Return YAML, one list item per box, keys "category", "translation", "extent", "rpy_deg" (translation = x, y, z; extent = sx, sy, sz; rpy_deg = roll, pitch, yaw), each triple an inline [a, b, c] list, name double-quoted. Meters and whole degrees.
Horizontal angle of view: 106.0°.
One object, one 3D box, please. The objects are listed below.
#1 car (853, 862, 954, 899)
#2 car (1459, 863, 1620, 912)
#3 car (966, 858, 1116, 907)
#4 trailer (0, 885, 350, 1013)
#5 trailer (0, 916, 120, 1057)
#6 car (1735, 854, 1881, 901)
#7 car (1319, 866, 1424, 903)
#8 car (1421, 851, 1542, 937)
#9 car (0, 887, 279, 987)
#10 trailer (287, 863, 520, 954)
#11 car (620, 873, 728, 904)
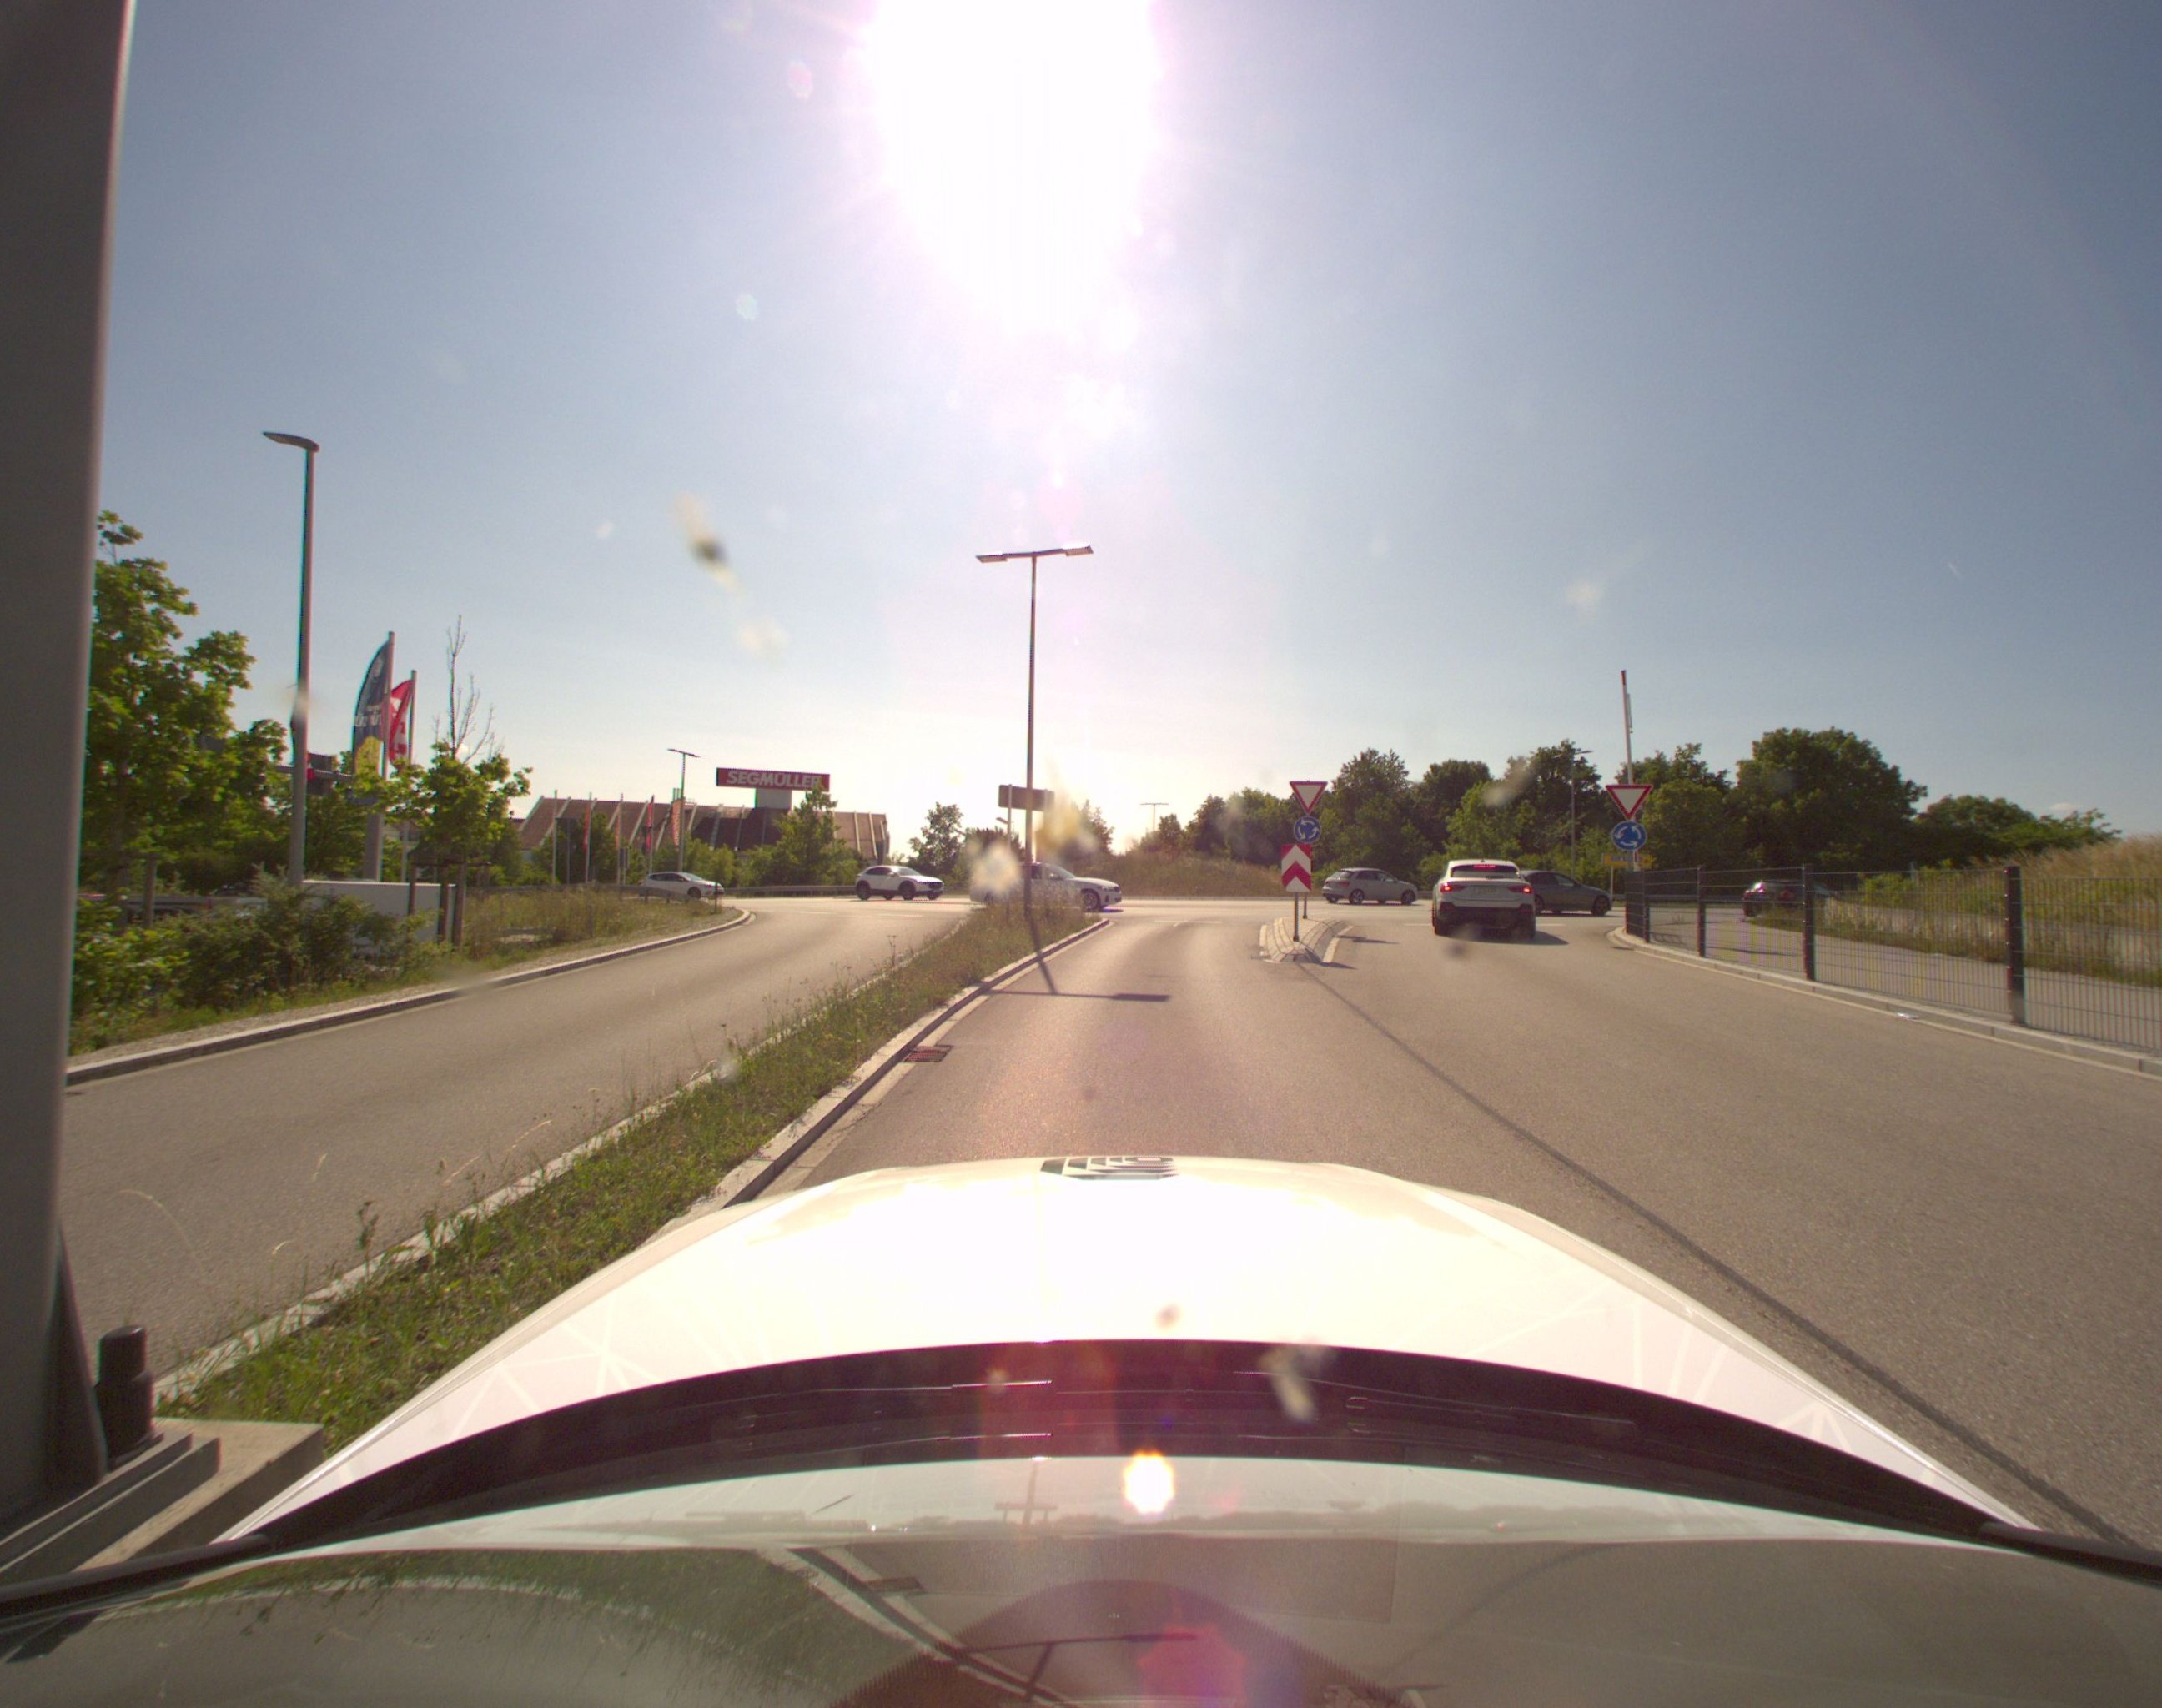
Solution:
- category: "car"
  translation: [-7.938, 1.158, 36.323]
  extent: [4.233, 1.530, 1.802]
  rpy_deg: [0, -2, 29]
- category: "car"
  translation: [14.853, 1.079, 26.373]
  extent: [4.877, 1.452, 1.985]
  rpy_deg: [2, -1, -23]
- category: "car"
  translation: [-1.204, 0.863, 25.124]
  extent: [4.296, 1.352, 1.579]
  rpy_deg: [1, -1, 14]
- category: "trailer"
  translation: [-14.637, 1.441, 13.282]
  extent: [3.709, 1.772, 1.789]
  rpy_deg: [2, -1, -32]
- category: "trailer"
  translation: [-13.939, 1.441, 9.080]
  extent: [3.708, 1.452, 1.691]
  rpy_deg: [5, -3, -32]
- category: "car"
  translation: [27.221, 0.866, 30.581]
  extent: [3.936, 1.618, 1.818]
  rpy_deg: [1, -1, -1]
- category: "car"
  translation: [11.526, 1.201, 32.378]
  extent: [3.765, 1.352, 1.523]
  rpy_deg: [2, -1, -17]
- category: "car"
  translation: [8.440, 0.784, 17.514]
  extent: [1.826, 1.596, 4.345]
  rpy_deg: [0, -1, 19]
- category: "car"
  translation: [-18.081, 1.462, 15.526]
  extent: [1.732, 1.552, 3.744]
  rpy_deg: [1, -1, 1]
- category: "trailer"
  translation: [-14.666, 1.109, 17.932]
  extent: [3.709, 1.772, 1.789]
  rpy_deg: [0, 0, -32]
- category: "car"
  translation: [-20.095, 1.692, 40.362]
  extent: [4.388, 1.405, 1.791]
  rpy_deg: [1, -1, 0]
